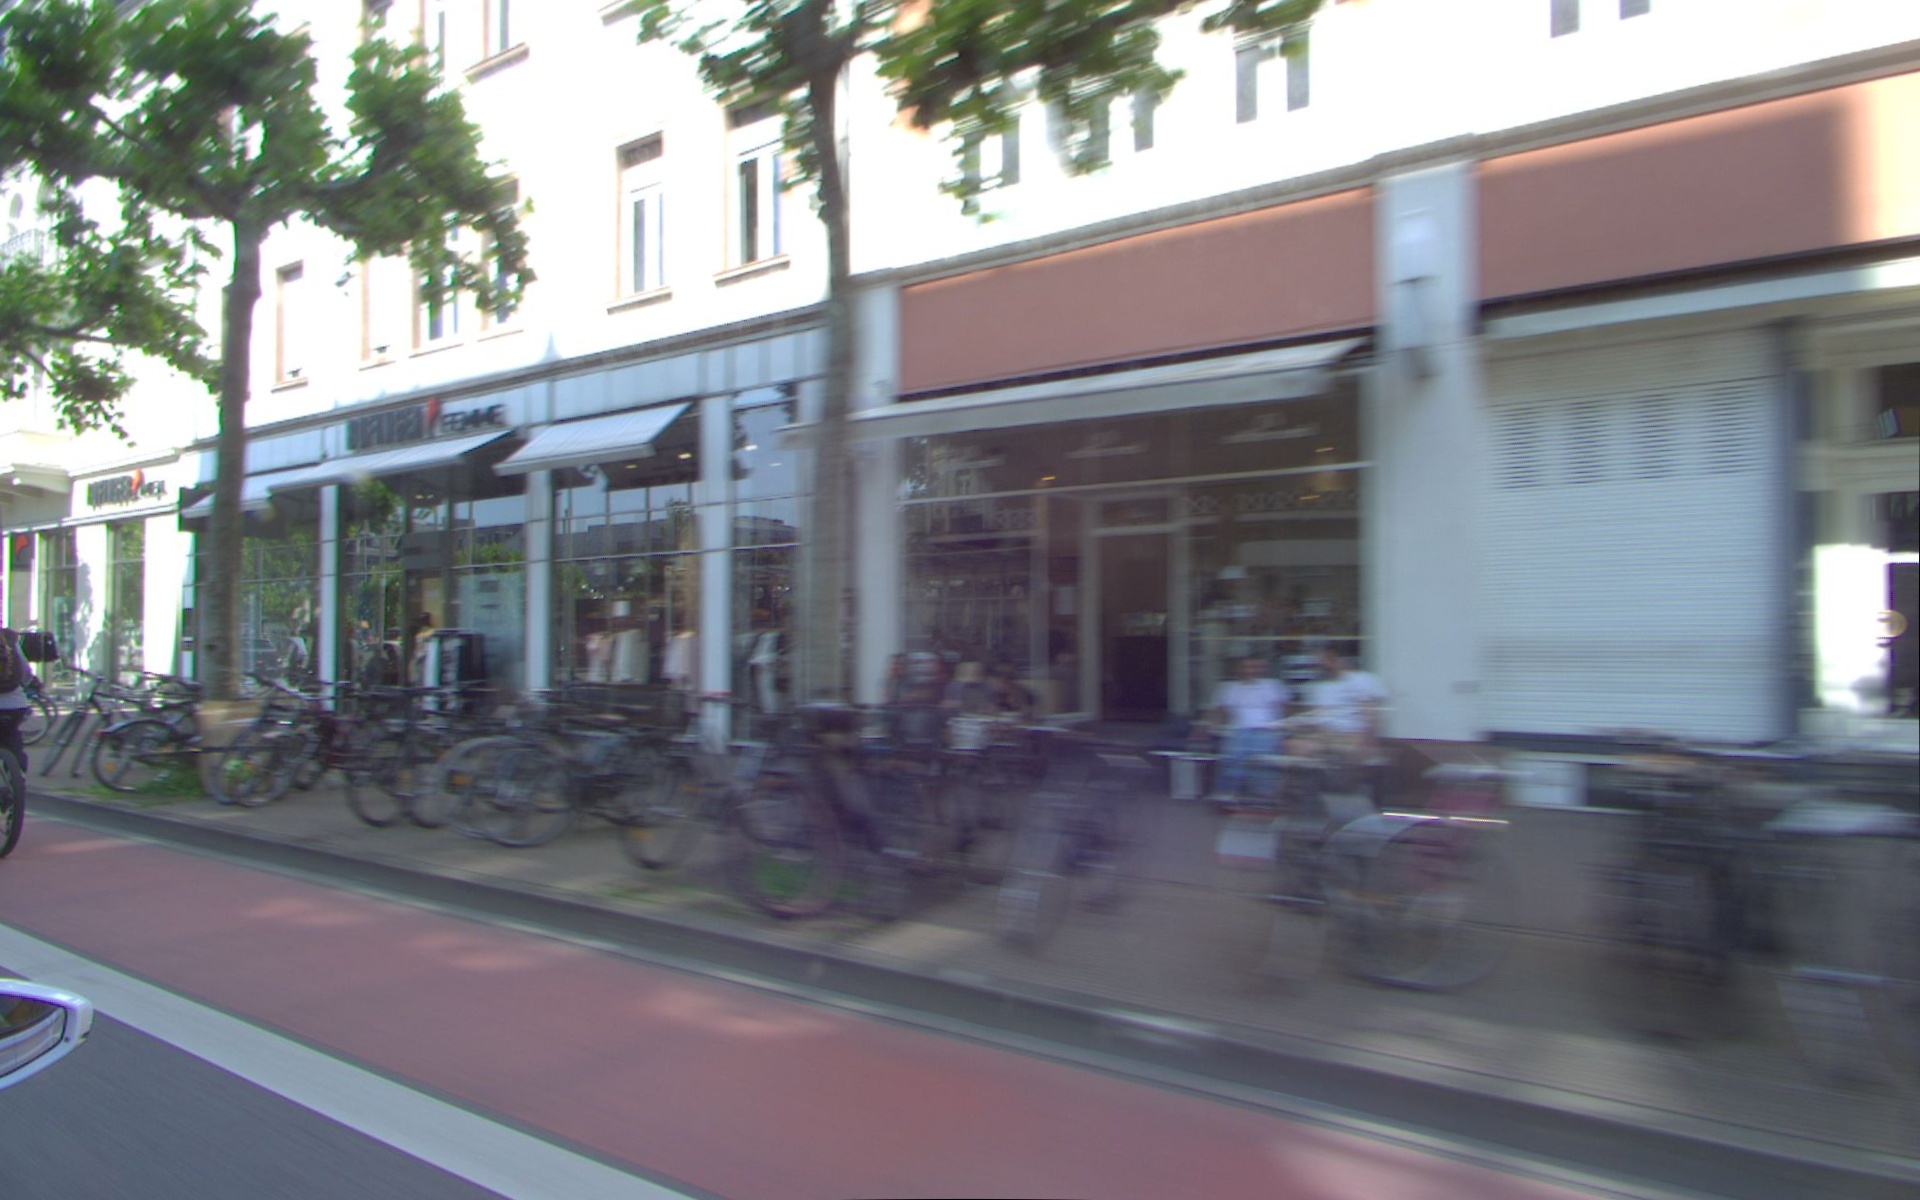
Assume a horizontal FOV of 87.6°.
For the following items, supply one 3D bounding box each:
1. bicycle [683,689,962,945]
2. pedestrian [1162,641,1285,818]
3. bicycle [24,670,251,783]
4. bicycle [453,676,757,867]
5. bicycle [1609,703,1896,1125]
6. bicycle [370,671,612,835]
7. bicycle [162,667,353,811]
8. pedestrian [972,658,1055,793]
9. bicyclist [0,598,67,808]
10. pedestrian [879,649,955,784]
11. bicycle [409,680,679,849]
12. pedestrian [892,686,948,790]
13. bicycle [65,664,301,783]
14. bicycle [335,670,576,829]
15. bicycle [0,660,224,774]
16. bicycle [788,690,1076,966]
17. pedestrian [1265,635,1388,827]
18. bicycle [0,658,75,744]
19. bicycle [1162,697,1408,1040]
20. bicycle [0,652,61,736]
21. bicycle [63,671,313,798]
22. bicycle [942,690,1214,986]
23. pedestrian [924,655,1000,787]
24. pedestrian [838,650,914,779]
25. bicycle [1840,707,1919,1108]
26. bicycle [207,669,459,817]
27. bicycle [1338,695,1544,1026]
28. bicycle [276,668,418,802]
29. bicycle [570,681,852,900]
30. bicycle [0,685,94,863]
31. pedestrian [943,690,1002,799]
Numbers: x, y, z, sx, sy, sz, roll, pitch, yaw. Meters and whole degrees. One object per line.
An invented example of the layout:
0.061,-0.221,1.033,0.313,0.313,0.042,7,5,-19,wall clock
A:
-0.699,1.116,5.710,0.522,1.141,1.837,-2,-3,32,bicycle
2.365,1.091,8.912,0.778,1.440,1.232,-2,-2,28,pedestrian
-8.849,1.321,10.882,0.555,1.106,1.844,0,-4,20,bicycle
-2.524,1.157,7.310,0.753,1.141,1.975,-3,-3,43,bicycle
2.981,1.031,3.943,0.657,1.141,1.837,-2,-3,32,bicycle
-3.748,1.175,8.174,0.442,1.141,1.836,-2,-3,33,bicycle
-6.345,1.201,9.175,0.582,1.141,1.847,-1,-3,-5,bicycle
0.540,1.234,10.045,0.599,1.269,0.638,-2,-1,28,pedestrian
-7.133,0.726,7.213,0.946,1.463,0.698,-1,-3,27,bicyclist
-0.447,1.205,10.586,0.523,1.355,0.681,0,-1,28,pedestrian
-3.121,1.195,7.682,0.524,1.140,1.832,-2,-5,42,bicycle
-0.395,1.364,9.974,0.431,0.980,0.340,0,-2,32,pedestrian
-8.151,1.271,10.628,0.752,1.140,1.845,-1,-5,18,bicycle
-4.146,1.183,8.390,0.442,1.141,1.836,-2,-3,33,bicycle
-9.320,1.263,11.049,0.621,1.140,1.845,-1,-5,20,bicycle
-0.066,1.104,5.434,0.657,1.141,1.837,-2,-3,32,bicycle
3.173,1.062,8.613,0.824,1.502,1.251,-1,-3,28,pedestrian
-13.068,1.338,13.334,0.489,1.140,1.843,1,-4,22,bicycle
1.560,1.065,4.586,0.634,1.141,1.837,-2,-3,32,bicycle
-14.235,1.372,14.590,0.566,1.211,1.782,0,-3,3,bicycle
-7.503,1.265,9.837,0.556,1.106,1.839,-1,-4,30,bicycle
0.684,1.075,5.133,0.657,1.141,1.837,-2,-3,32,bicycle
0.027,1.223,10.335,0.523,1.269,0.680,0,0,28,pedestrian
-0.913,1.226,10.957,0.523,1.349,0.681,0,-2,28,pedestrian
3.752,1.019,3.653,0.658,1.141,1.834,-2,-3,37,bicycle
-5.415,1.200,8.756,1.821,1.141,0.446,1,-2,-32,bicycle
2.324,1.065,4.713,0.657,1.141,1.837,-2,-3,32,bicycle
-5.925,1.256,9.793,0.439,1.141,1.847,-1,-3,-6,bicycle
-1.540,1.134,6.529,0.670,1.141,1.837,-2,-3,32,bicycle
-7.216,1.200,7.234,2.049,1.140,0.698,-1,-4,27,bicycle
0.117,1.362,9.549,0.431,0.980,0.364,0,-2,32,pedestrian
